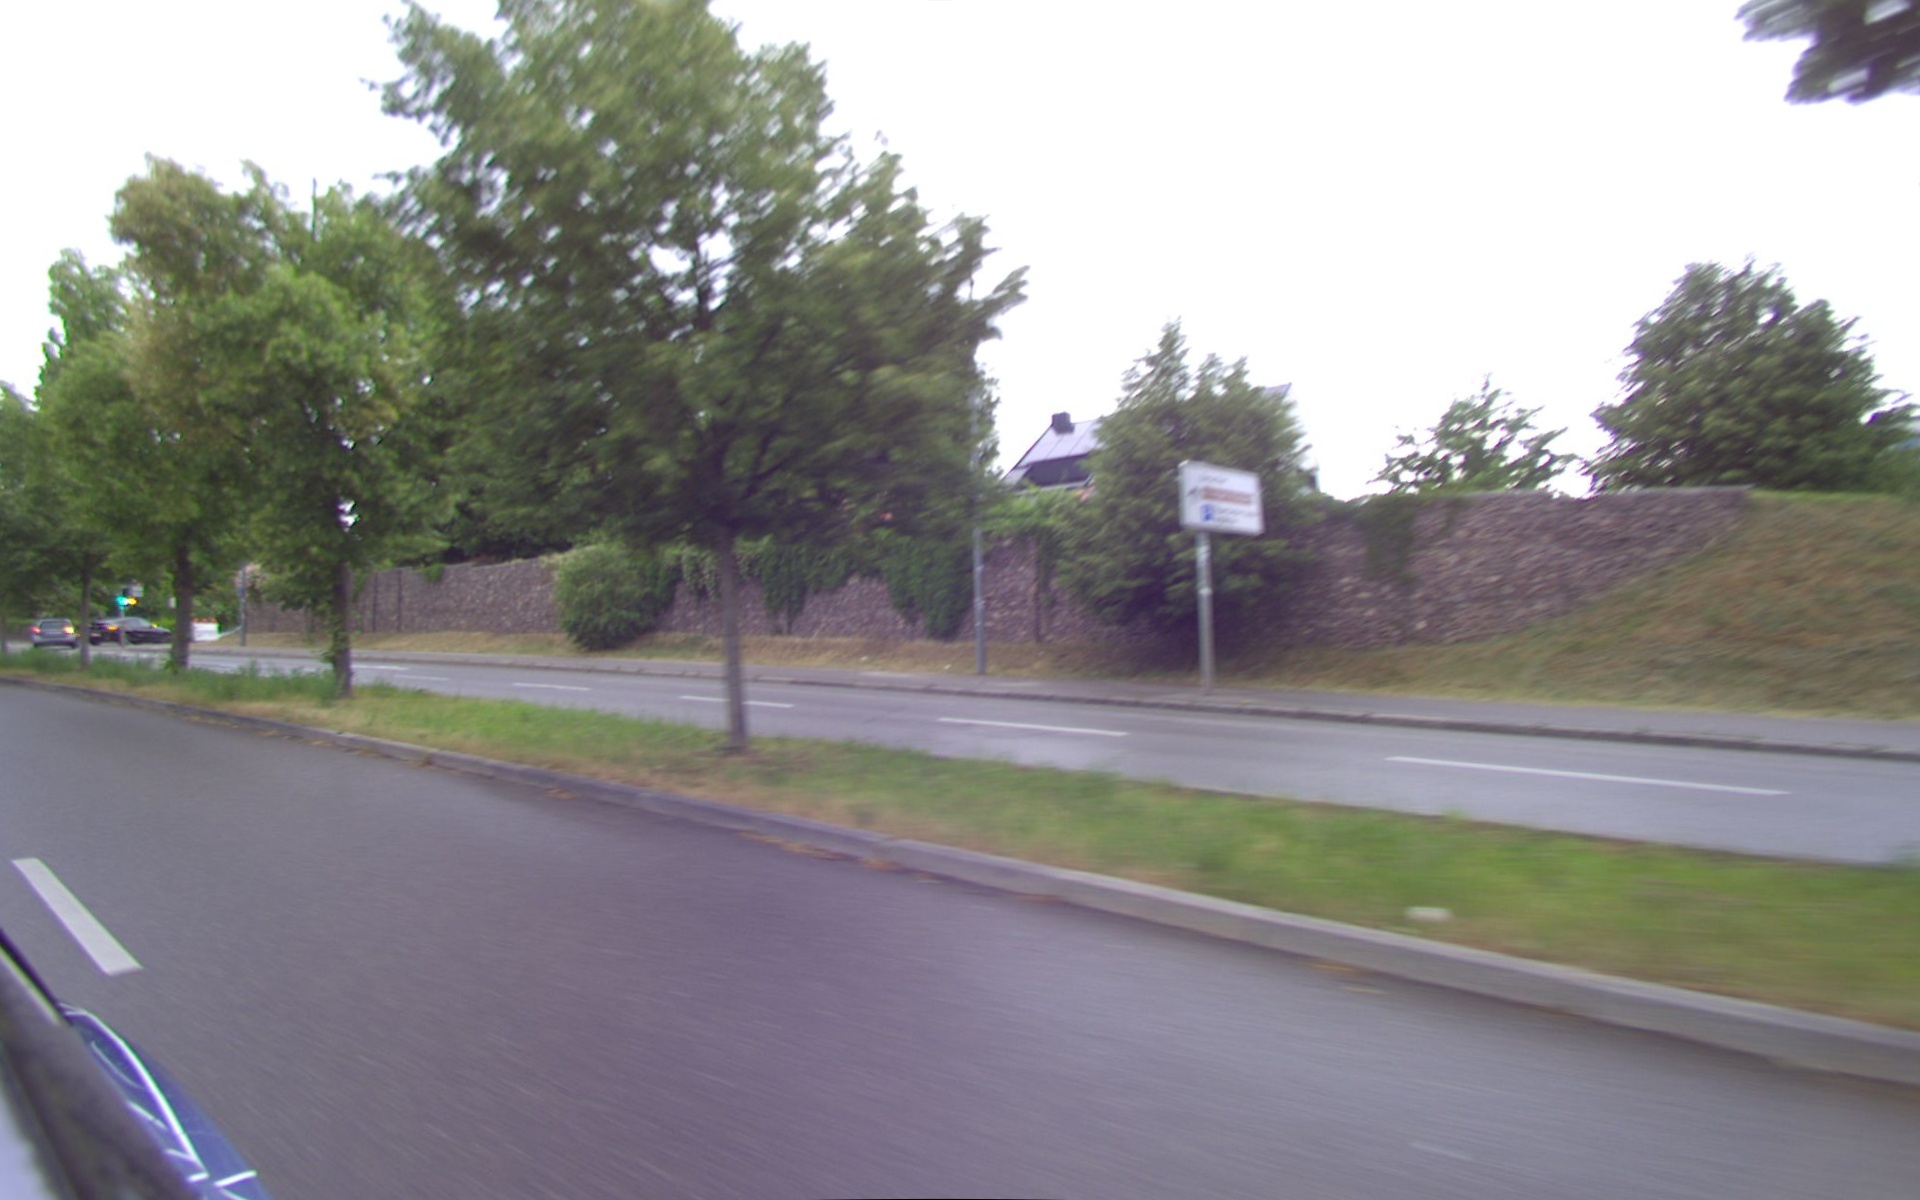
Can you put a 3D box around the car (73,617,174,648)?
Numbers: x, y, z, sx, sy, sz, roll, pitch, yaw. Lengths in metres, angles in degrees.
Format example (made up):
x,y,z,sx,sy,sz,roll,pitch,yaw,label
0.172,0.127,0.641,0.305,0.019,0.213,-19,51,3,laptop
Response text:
x,y,z,sx,sy,sz,roll,pitch,yaw,label
-47.555,1.840,57.668,1.860,1.607,4.767,-1,0,-1,car

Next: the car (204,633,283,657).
x,y,z,sx,sy,sz,roll,pitch,yaw,label
-47.710,3.014,67.451,1.690,1.484,3.946,-4,-5,40,car

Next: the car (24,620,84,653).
x,y,z,sx,sy,sz,roll,pitch,yaw,label
-45.508,1.824,50.882,1.663,1.551,2.924,0,-2,-30,car
